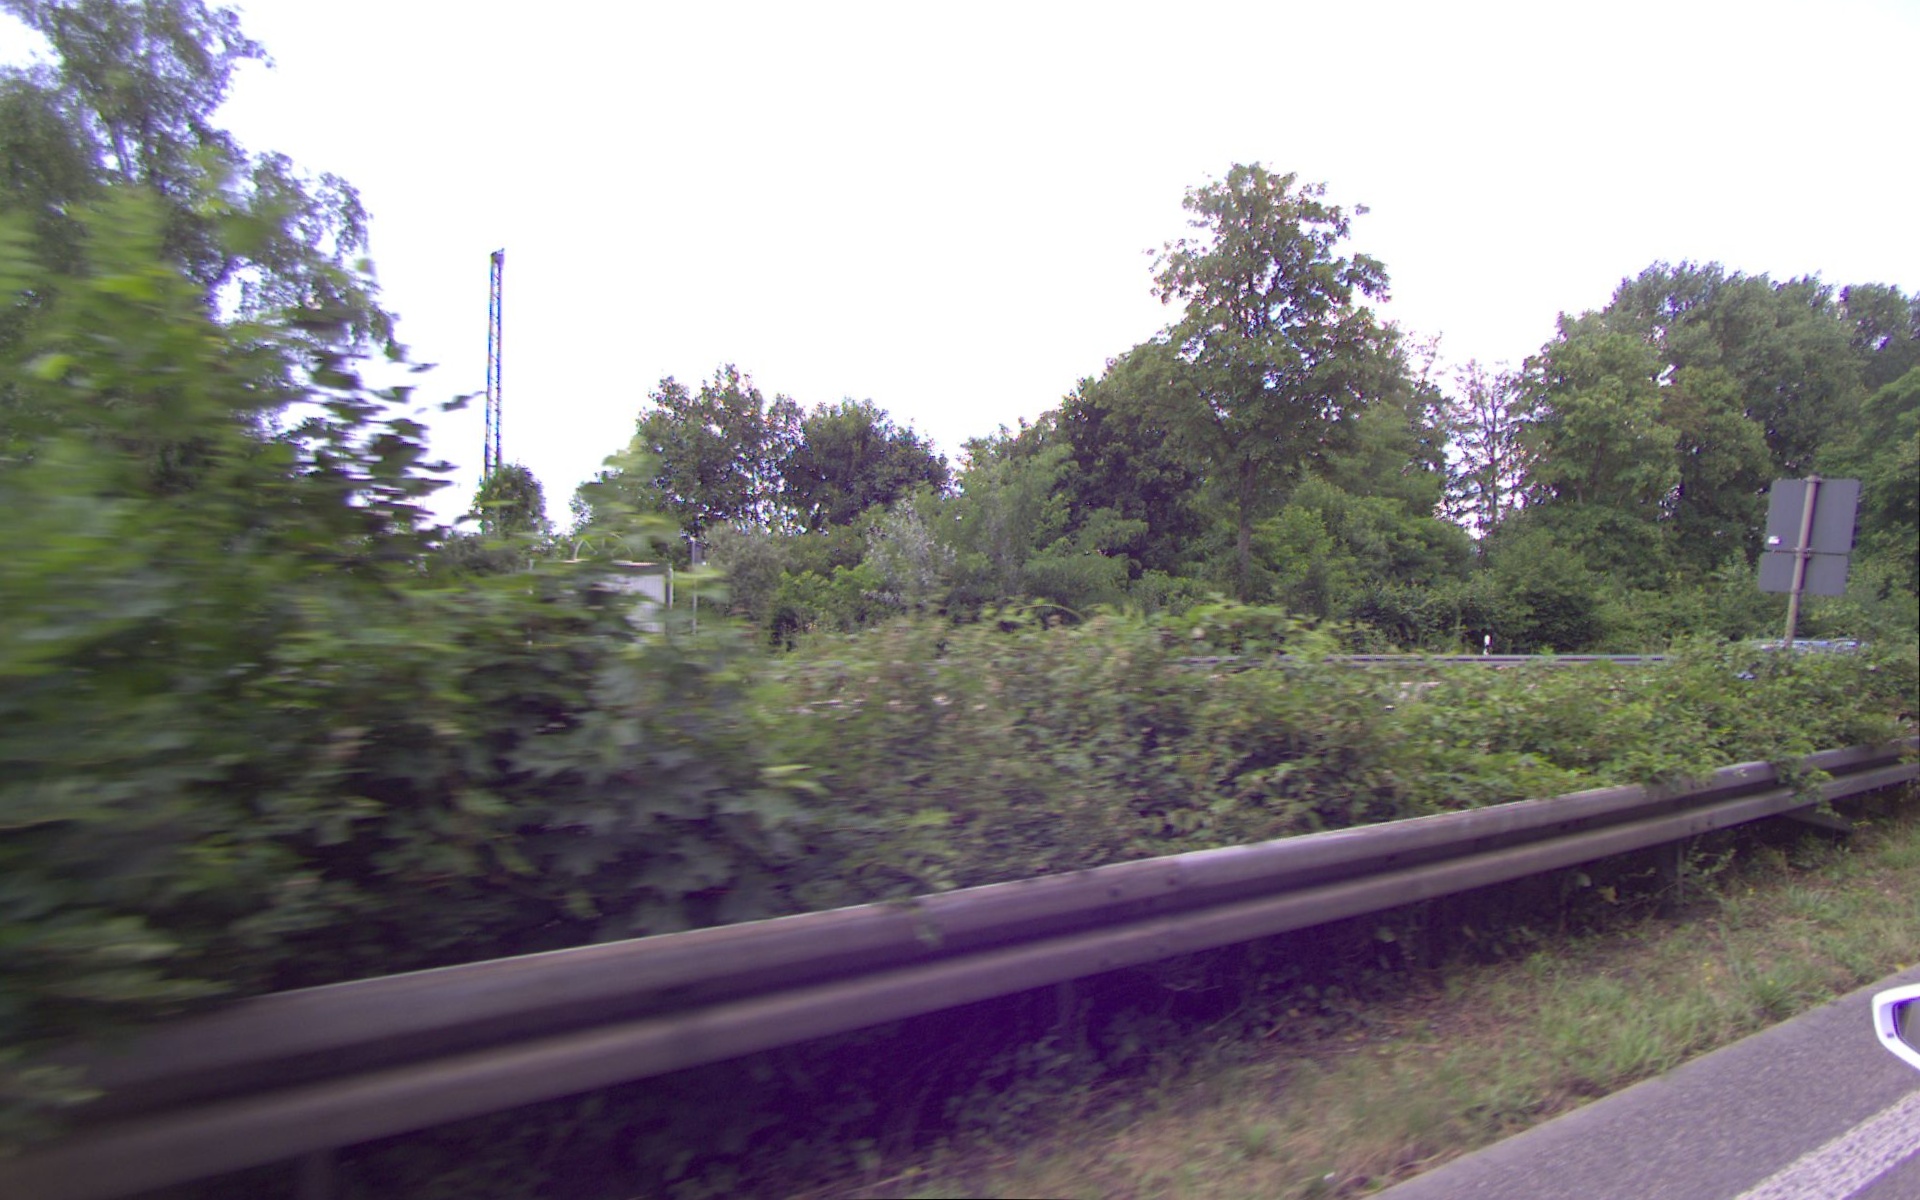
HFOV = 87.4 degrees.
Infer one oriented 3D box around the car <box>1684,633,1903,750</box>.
[{"bbox_3d":[13.139,1.349,15.811,3.491,1.629,1.578,1,-1,-30],"label":"car"}]
